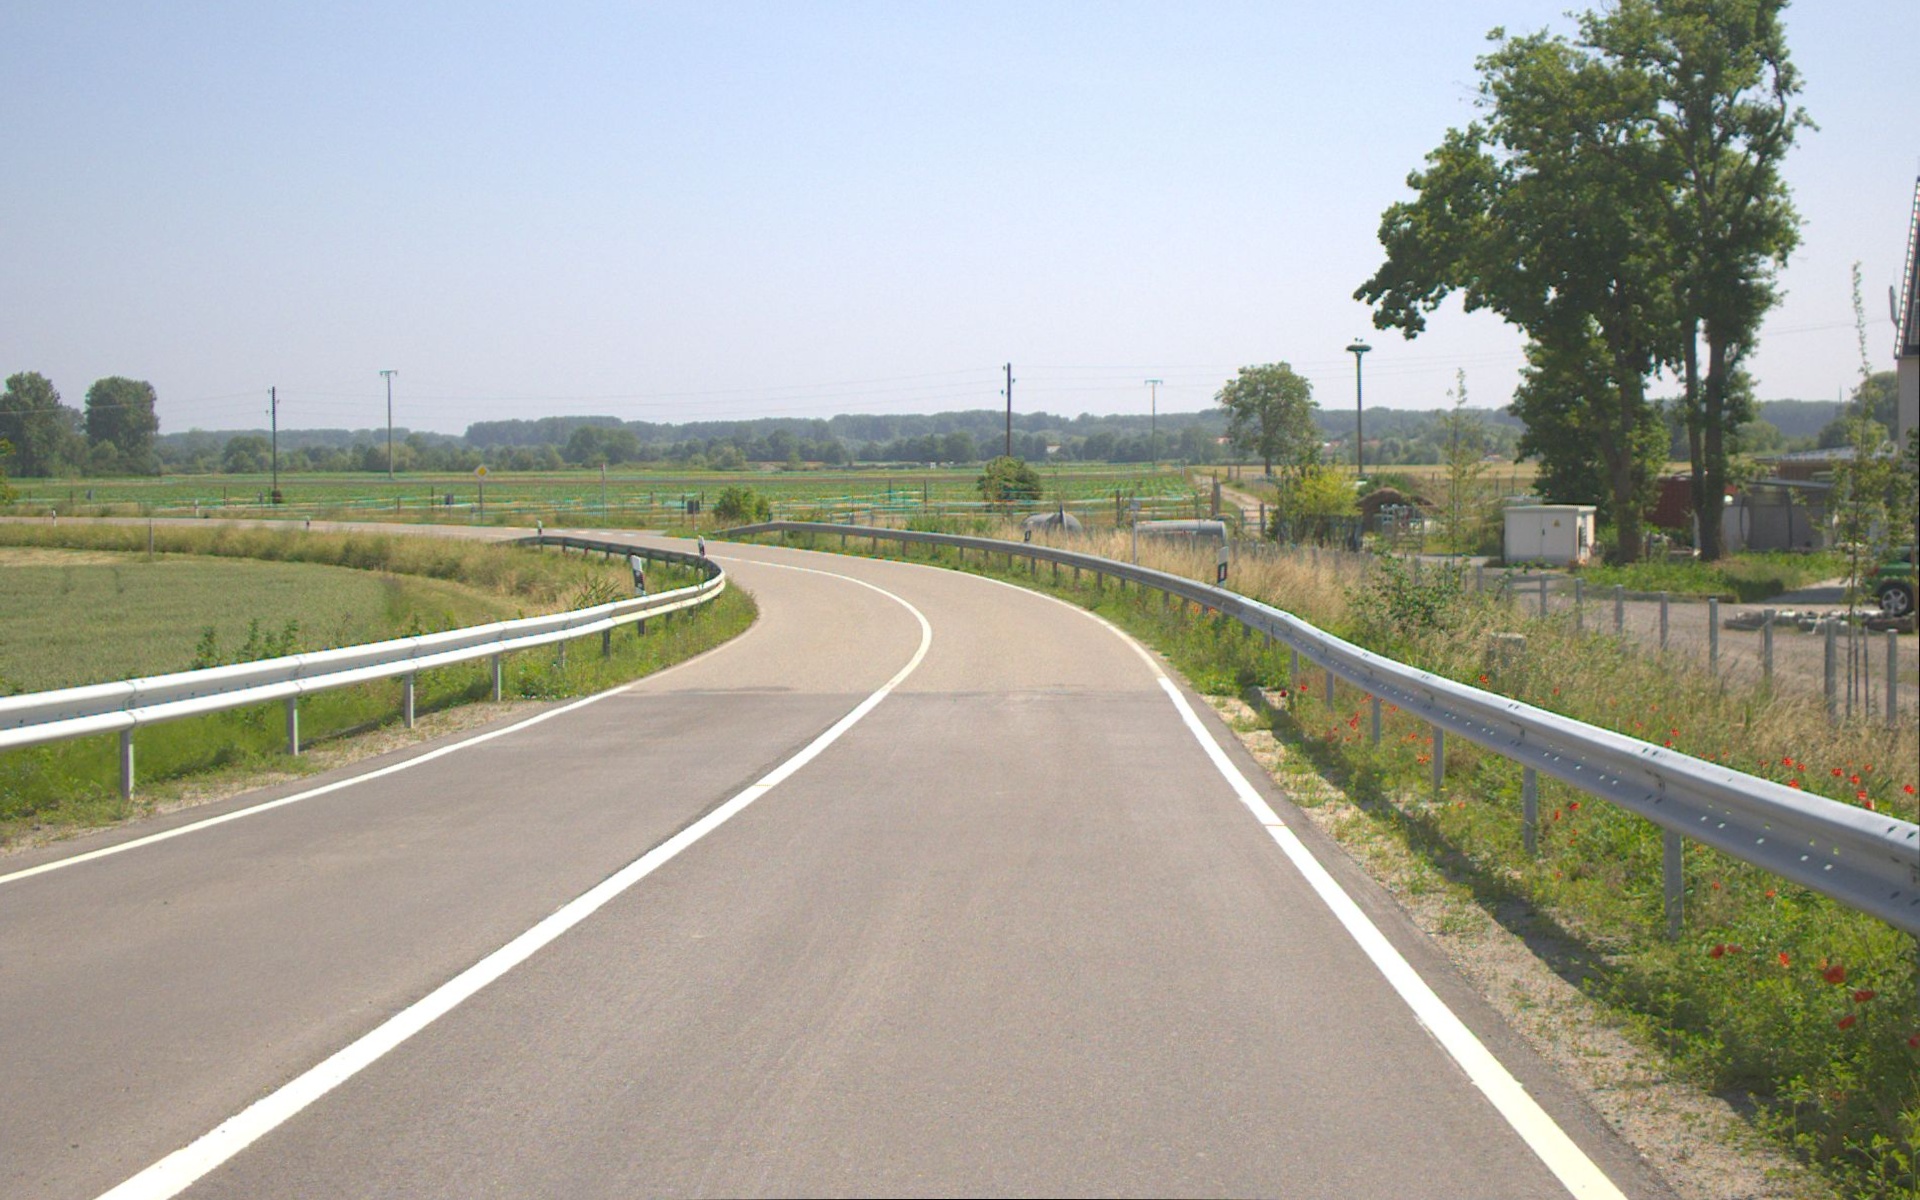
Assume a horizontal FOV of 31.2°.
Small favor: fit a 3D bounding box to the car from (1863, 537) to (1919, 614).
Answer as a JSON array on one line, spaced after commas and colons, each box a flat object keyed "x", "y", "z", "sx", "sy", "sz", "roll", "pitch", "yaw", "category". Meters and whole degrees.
[{"x": 21.438, "y": -0.466, "z": 72.481, "sx": 4.364, "sy": 1.575, "sz": 1.931, "roll": 2, "pitch": 1, "yaw": 23, "category": "car"}]

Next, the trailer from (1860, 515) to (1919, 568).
[{"x": 27.337, "y": -1.690, "z": 99.594, "sx": 1.713, "sy": 1.491, "sz": 3.136, "roll": 1, "pitch": 1, "yaw": 29, "category": "trailer"}]
